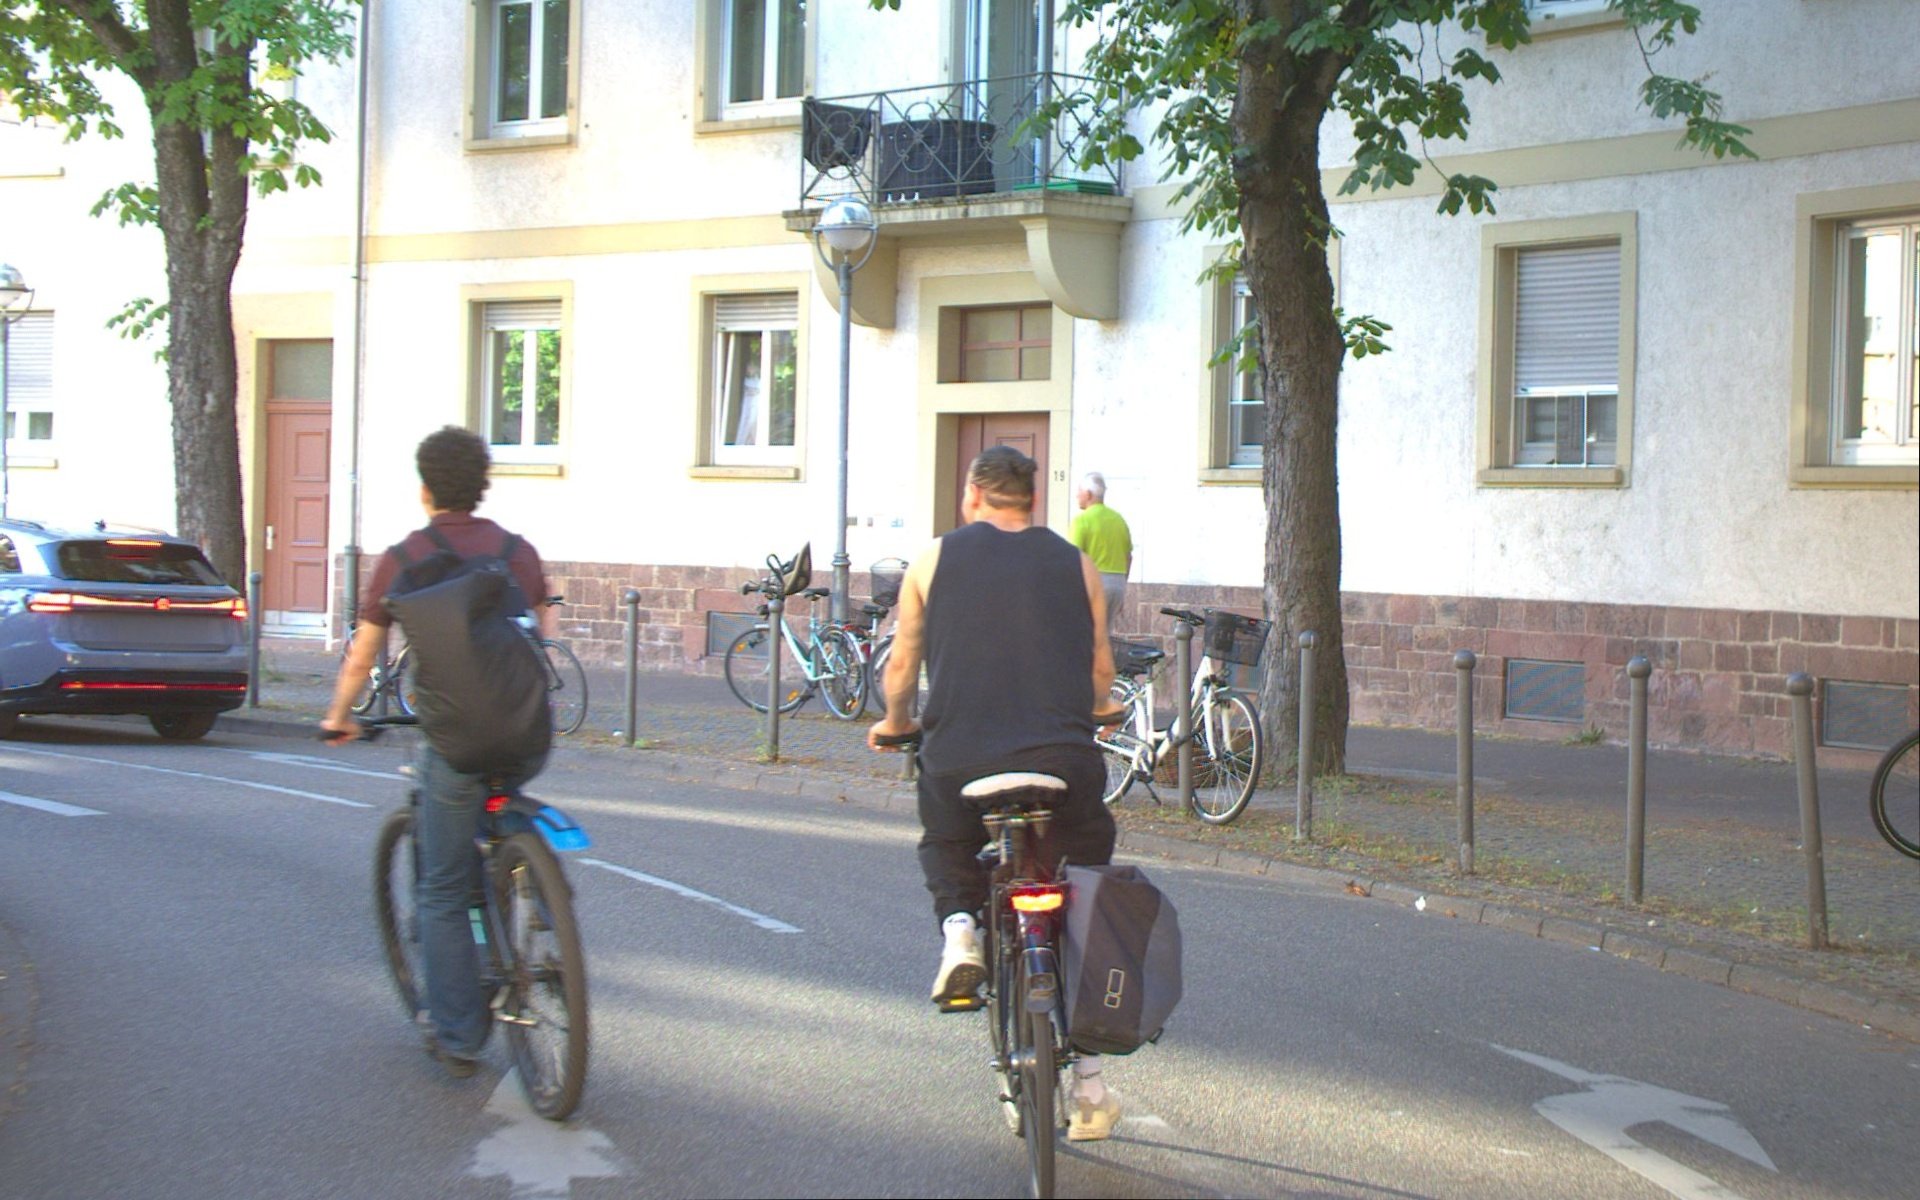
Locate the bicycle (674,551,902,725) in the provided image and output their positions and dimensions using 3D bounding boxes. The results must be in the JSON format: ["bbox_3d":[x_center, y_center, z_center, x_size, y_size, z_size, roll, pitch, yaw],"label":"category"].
[{"bbox_3d":[-1.275,0.253,25.123,0.494,1.168,2.117,-4,4,-38],"label":"bicycle"}]

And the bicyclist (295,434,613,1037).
[{"bbox_3d":[-1.374,0.330,9.199,0.671,1.509,1.069,0,1,-17],"label":"bicyclist"}]

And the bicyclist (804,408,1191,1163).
[{"bbox_3d":[0.065,0.408,8.126,0.752,1.676,0.913,1,1,-7],"label":"bicyclist"}]

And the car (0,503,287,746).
[{"bbox_3d":[-6.755,0.102,24.641,1.893,1.572,3.998,0,2,-44],"label":"car"}]

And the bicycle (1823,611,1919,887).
[{"bbox_3d":[4.702,0.652,14.849,0.671,1.178,1.821,-2,2,-40],"label":"bicycle"}]

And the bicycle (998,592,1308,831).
[{"bbox_3d":[1.000,0.560,18.328,0.616,1.109,1.992,-3,4,-31],"label":"bicycle"}]

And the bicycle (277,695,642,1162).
[{"bbox_3d":[-1.413,0.822,9.377,0.674,1.050,2.062,0,0,-17],"label":"bicycle"}]

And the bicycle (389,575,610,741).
[{"bbox_3d":[-3.274,0.387,24.308,0.616,1.054,1.928,-2,3,-40],"label":"bicycle"}]

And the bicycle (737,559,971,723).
[{"bbox_3d":[-0.808,0.280,25.495,0.582,1.110,2.117,0,2,-38],"label":"bicycle"}]

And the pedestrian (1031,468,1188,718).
[{"bbox_3d":[1.101,-0.072,25.220,0.659,1.788,0.995,2,3,42],"label":"pedestrian"}]

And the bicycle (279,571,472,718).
[{"bbox_3d":[-4.355,0.311,25.487,0.520,0.995,2.191,1,2,-34],"label":"bicycle"}]

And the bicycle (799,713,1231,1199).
[{"bbox_3d":[0.070,0.843,8.247,0.737,1.008,2.062,1,2,-7],"label":"bicycle"}]
